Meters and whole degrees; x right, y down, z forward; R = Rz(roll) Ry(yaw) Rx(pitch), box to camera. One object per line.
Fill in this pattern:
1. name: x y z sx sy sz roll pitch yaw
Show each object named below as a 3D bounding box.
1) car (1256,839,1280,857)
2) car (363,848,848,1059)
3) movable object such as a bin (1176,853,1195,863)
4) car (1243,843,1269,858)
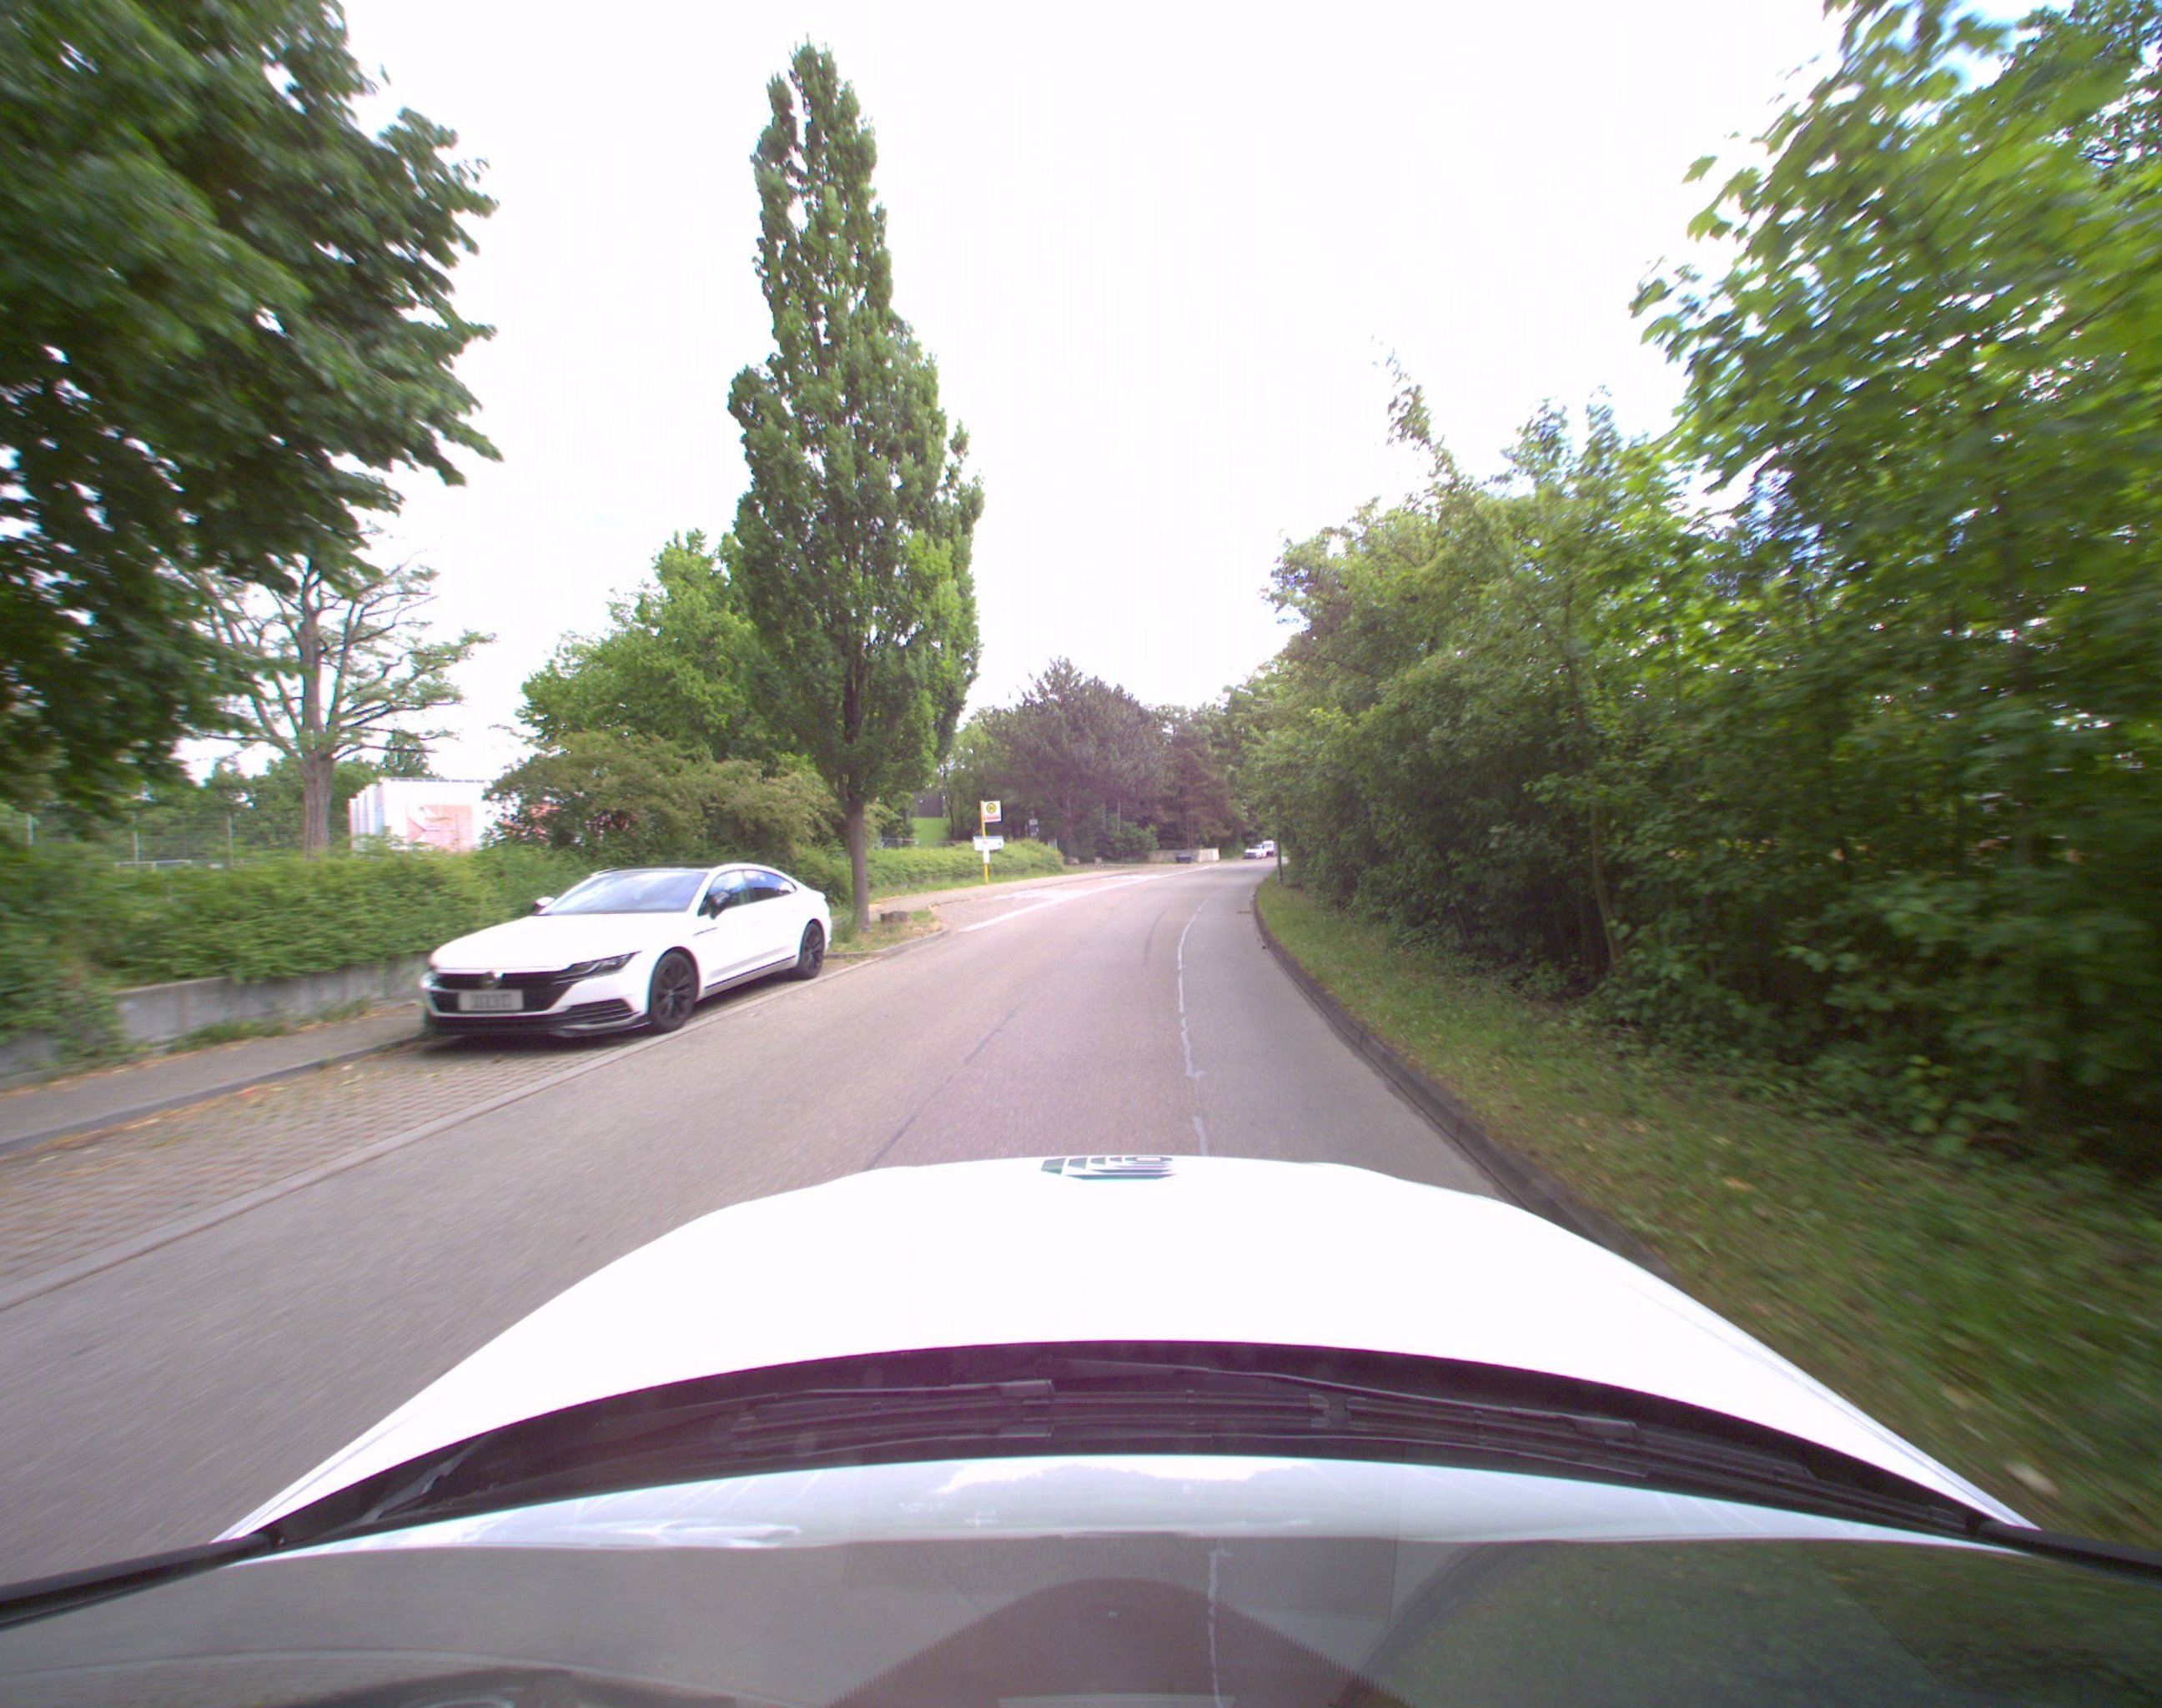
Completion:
1. car: 20.830 -0.691 90.689 1.705 1.921 4.129 -1 2 25
2. car: -4.144 0.713 8.239 1.839 1.492 4.643 -1 0 5
3. movable object such as a bin: 8.023 0.294 62.660 1.145 0.760 1.044 0 -1 -14
4. car: 18.161 -0.348 84.503 1.790 1.402 4.396 -1 1 23
